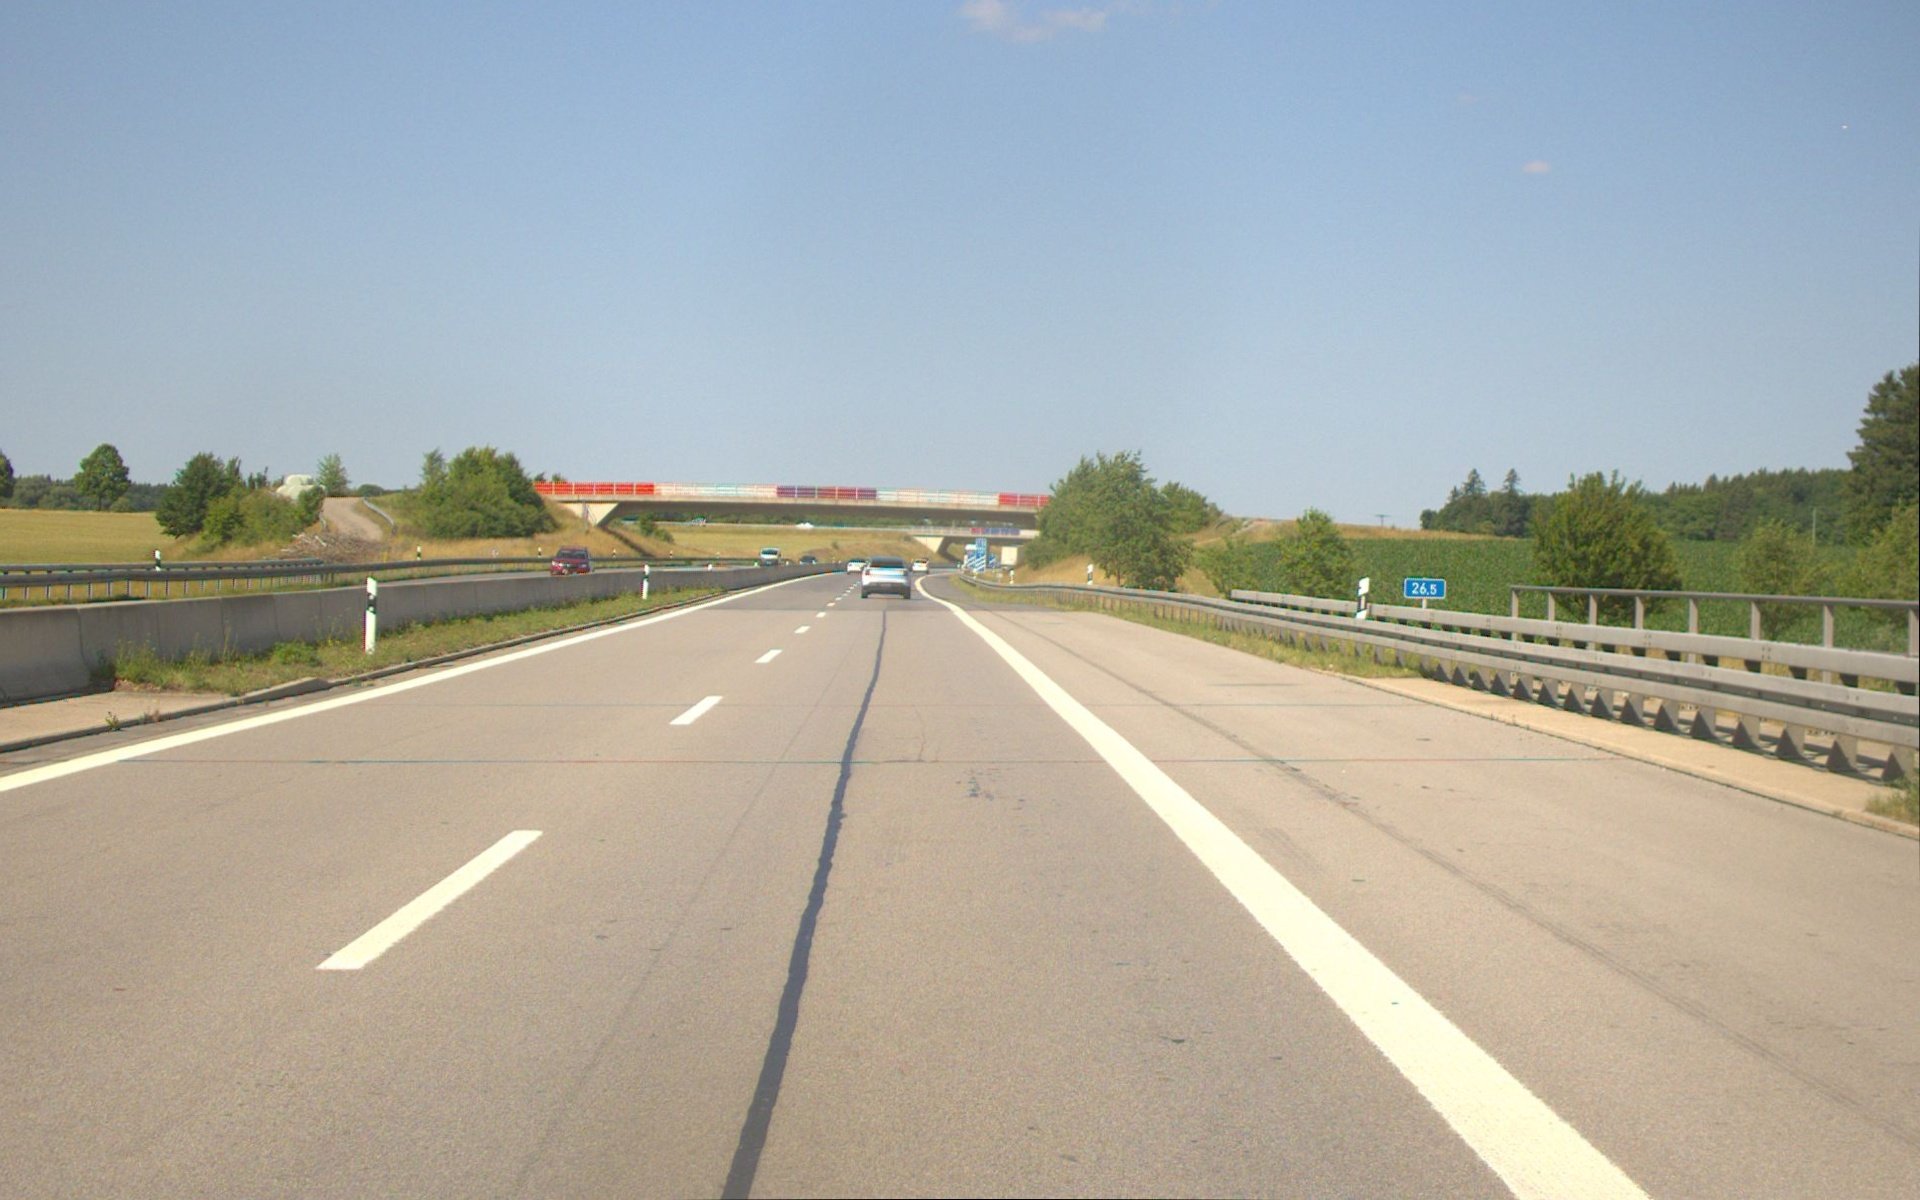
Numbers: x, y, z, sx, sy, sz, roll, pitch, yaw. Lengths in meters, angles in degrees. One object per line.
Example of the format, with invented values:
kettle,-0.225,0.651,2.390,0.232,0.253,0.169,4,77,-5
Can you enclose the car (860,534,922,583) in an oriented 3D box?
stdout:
car,-2.592,-1.554,128.413,1.993,1.725,4.870,2,1,-5

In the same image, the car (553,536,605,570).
car,-17.314,-2.136,156.254,1.898,1.518,4.806,-1,1,-1
